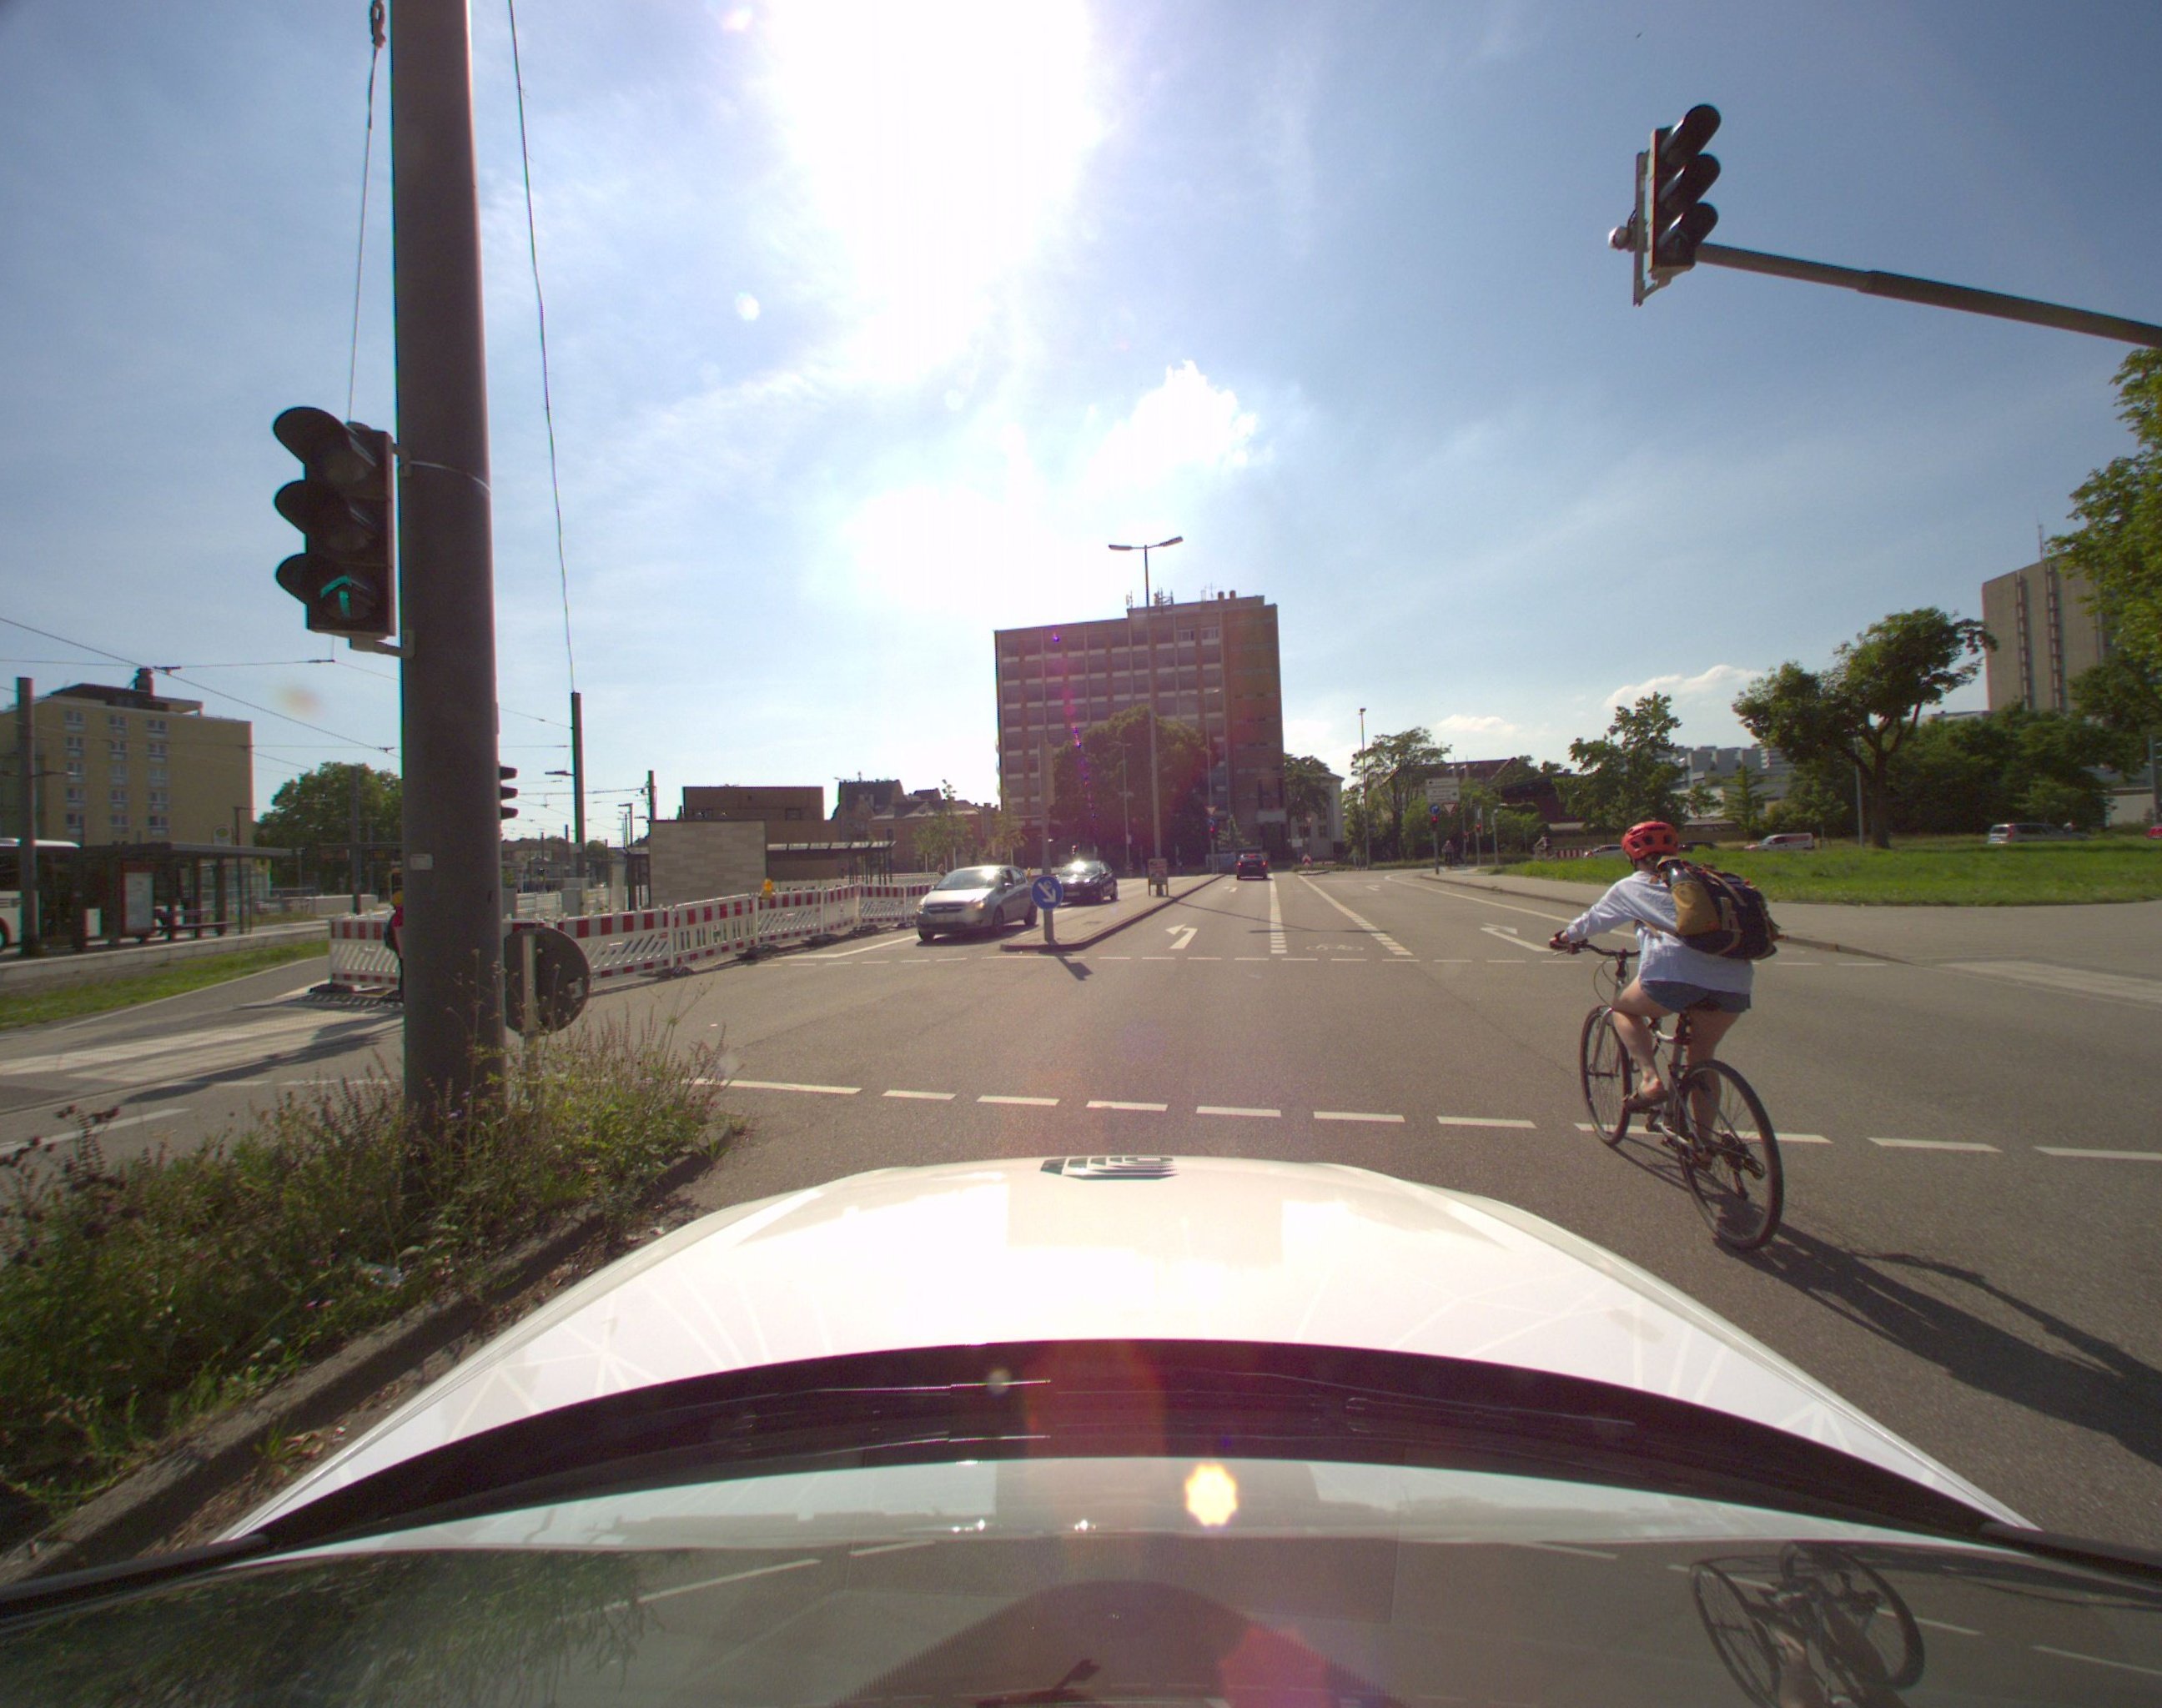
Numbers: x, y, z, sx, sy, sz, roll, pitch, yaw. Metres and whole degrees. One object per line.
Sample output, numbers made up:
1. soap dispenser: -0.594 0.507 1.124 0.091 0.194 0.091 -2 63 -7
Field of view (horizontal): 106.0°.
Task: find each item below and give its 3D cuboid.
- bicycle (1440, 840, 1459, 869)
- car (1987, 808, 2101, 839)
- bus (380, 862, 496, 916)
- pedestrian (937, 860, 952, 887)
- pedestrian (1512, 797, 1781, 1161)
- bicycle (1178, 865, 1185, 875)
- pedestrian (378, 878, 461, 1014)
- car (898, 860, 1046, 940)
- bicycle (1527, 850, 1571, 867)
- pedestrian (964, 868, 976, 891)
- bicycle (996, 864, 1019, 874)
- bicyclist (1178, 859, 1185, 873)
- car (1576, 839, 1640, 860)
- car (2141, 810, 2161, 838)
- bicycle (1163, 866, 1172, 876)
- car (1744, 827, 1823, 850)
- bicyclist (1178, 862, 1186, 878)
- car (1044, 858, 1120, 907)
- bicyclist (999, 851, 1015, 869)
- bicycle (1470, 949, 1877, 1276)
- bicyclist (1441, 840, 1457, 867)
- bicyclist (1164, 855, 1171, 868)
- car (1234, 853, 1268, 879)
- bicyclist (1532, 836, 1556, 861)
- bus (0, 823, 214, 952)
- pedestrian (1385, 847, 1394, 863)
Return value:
1. bicycle: 23.253 0.039 51.425 0.673 1.765 1.817 -3 -1 13
2. car: 55.368 -1.750 46.892 3.959 1.508 1.759 -3 -1 13
3. bus: -45.169 2.371 57.764 2.864 3.281 12.564 -2 -1 -22
4. pedestrian: -9.092 1.307 54.242 0.734 1.752 1.109 -3 -3 -3
5. pedestrian: 2.564 0.514 3.819 0.580 1.466 1.015 -1 -1 6
6. bicycle: 10.445 1.627 84.287 0.615 0.961 1.972 -5 -1 8
7. pedestrian: -8.279 1.130 10.205 0.347 1.616 0.689 -3 -1 14
8. car: -2.214 0.917 17.782 1.781 1.412 4.015 -4 -1 13
9. bicycle: 27.563 0.280 48.026 0.677 0.916 2.148 -2 -1 -30
10. pedestrian: -7.549 1.735 55.431 0.629 1.491 0.616 -3 -1 -3
11. bicycle: -6.255 1.257 68.861 1.872 0.792 0.563 -3 1 25
12. bicyclist: 10.412 1.236 84.296 0.615 1.443 0.923 -5 -1 8
13. car: 43.752 -0.373 67.639 3.960 1.464 2.007 -3 -2 12
14. car: 61.839 -1.622 44.871 3.959 1.508 1.759 2 0 13
15. bicycle: 9.220 1.813 86.945 0.700 0.977 2.037 -3 -1 11
16. car: 55.483 -1.220 64.377 4.280 1.569 1.917 -3 -1 12
17. bicyclist: 10.445 1.627 84.287 0.615 1.582 1.016 -5 -1 8
18. car: 0.110 0.921 27.696 1.654 1.451 3.832 -4 -1 13
19. bicyclist: -6.290 0.500 68.877 1.154 1.474 0.567 -3 -1 25
20. bicycle: 2.585 1.037 3.909 0.593 0.931 2.031 -1 -1 5
21. bicyclist: 23.257 -0.049 51.417 0.673 1.655 0.922 -3 -1 13
22. bicyclist: 9.272 0.823 87.009 0.536 1.417 1.033 -4 -2 11
23. car: 9.809 0.673 46.705 1.767 1.443 3.832 -1 0 13
24. bicyclist: 27.382 -0.316 48.211 0.498 1.470 1.132 0 -2 -29
25. bus: -31.625 1.046 24.199 2.864 3.489 12.565 -2 -1 -22
26. pedestrian: 37.963 0.148 100.258 0.786 1.874 0.642 -5 -1 24
